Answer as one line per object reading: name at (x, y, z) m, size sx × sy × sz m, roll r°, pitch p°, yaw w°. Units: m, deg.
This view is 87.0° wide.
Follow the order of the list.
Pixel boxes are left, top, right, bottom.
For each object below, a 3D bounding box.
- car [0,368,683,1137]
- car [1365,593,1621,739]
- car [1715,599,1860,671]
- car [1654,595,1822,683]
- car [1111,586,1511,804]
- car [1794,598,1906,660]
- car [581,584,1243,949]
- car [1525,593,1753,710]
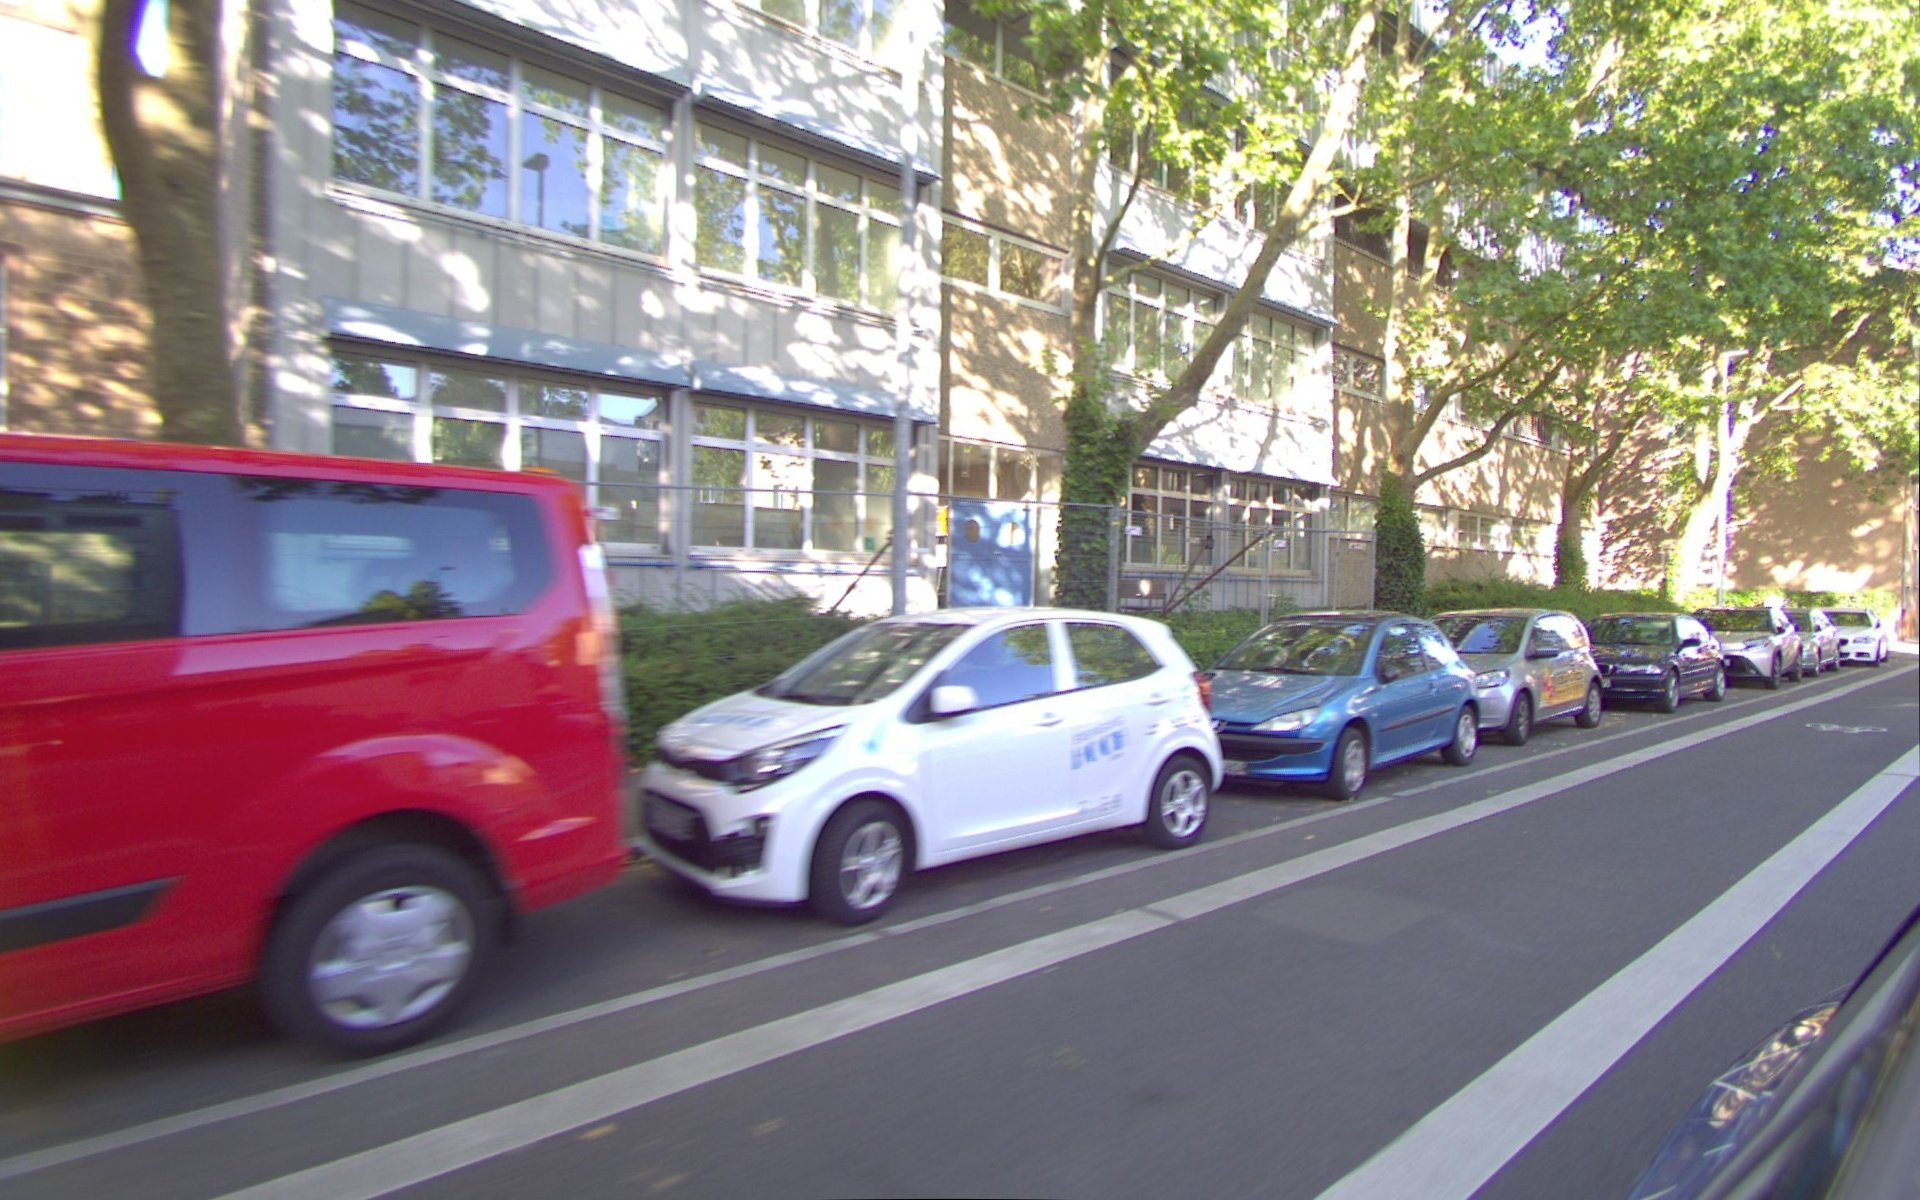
car at (-3.651, 0.408, 3.026) m, size 5.085 × 2.019 × 2.080 m, roll 0°, pitch -1°, yaw -43°
car at (6.457, 0.685, 12.126) m, size 3.432 × 1.494 × 1.615 m, roll 0°, pitch -1°, yaw -42°
car at (18.634, 0.706, 22.711) m, size 4.523 × 1.455 × 1.858 m, roll 0°, pitch 0°, yaw -42°
car at (15.206, 0.671, 19.700) m, size 4.223 × 1.542 × 1.857 m, roll 0°, pitch 0°, yaw -42°
car at (3.296, 0.688, 9.135) m, size 3.863 × 1.530 × 1.856 m, roll 0°, pitch -1°, yaw -44°
car at (23.354, 0.686, 26.492) m, size 4.889 × 1.454 × 1.856 m, roll 0°, pitch 1°, yaw -44°
car at (-0.114, 0.693, 6.007) m, size 3.692 × 1.504 × 1.641 m, roll 0°, pitch -1°, yaw -40°
car at (10.519, 0.683, 15.548) m, size 4.520 × 1.542 × 1.857 m, roll 0°, pitch -1°, yaw -42°
